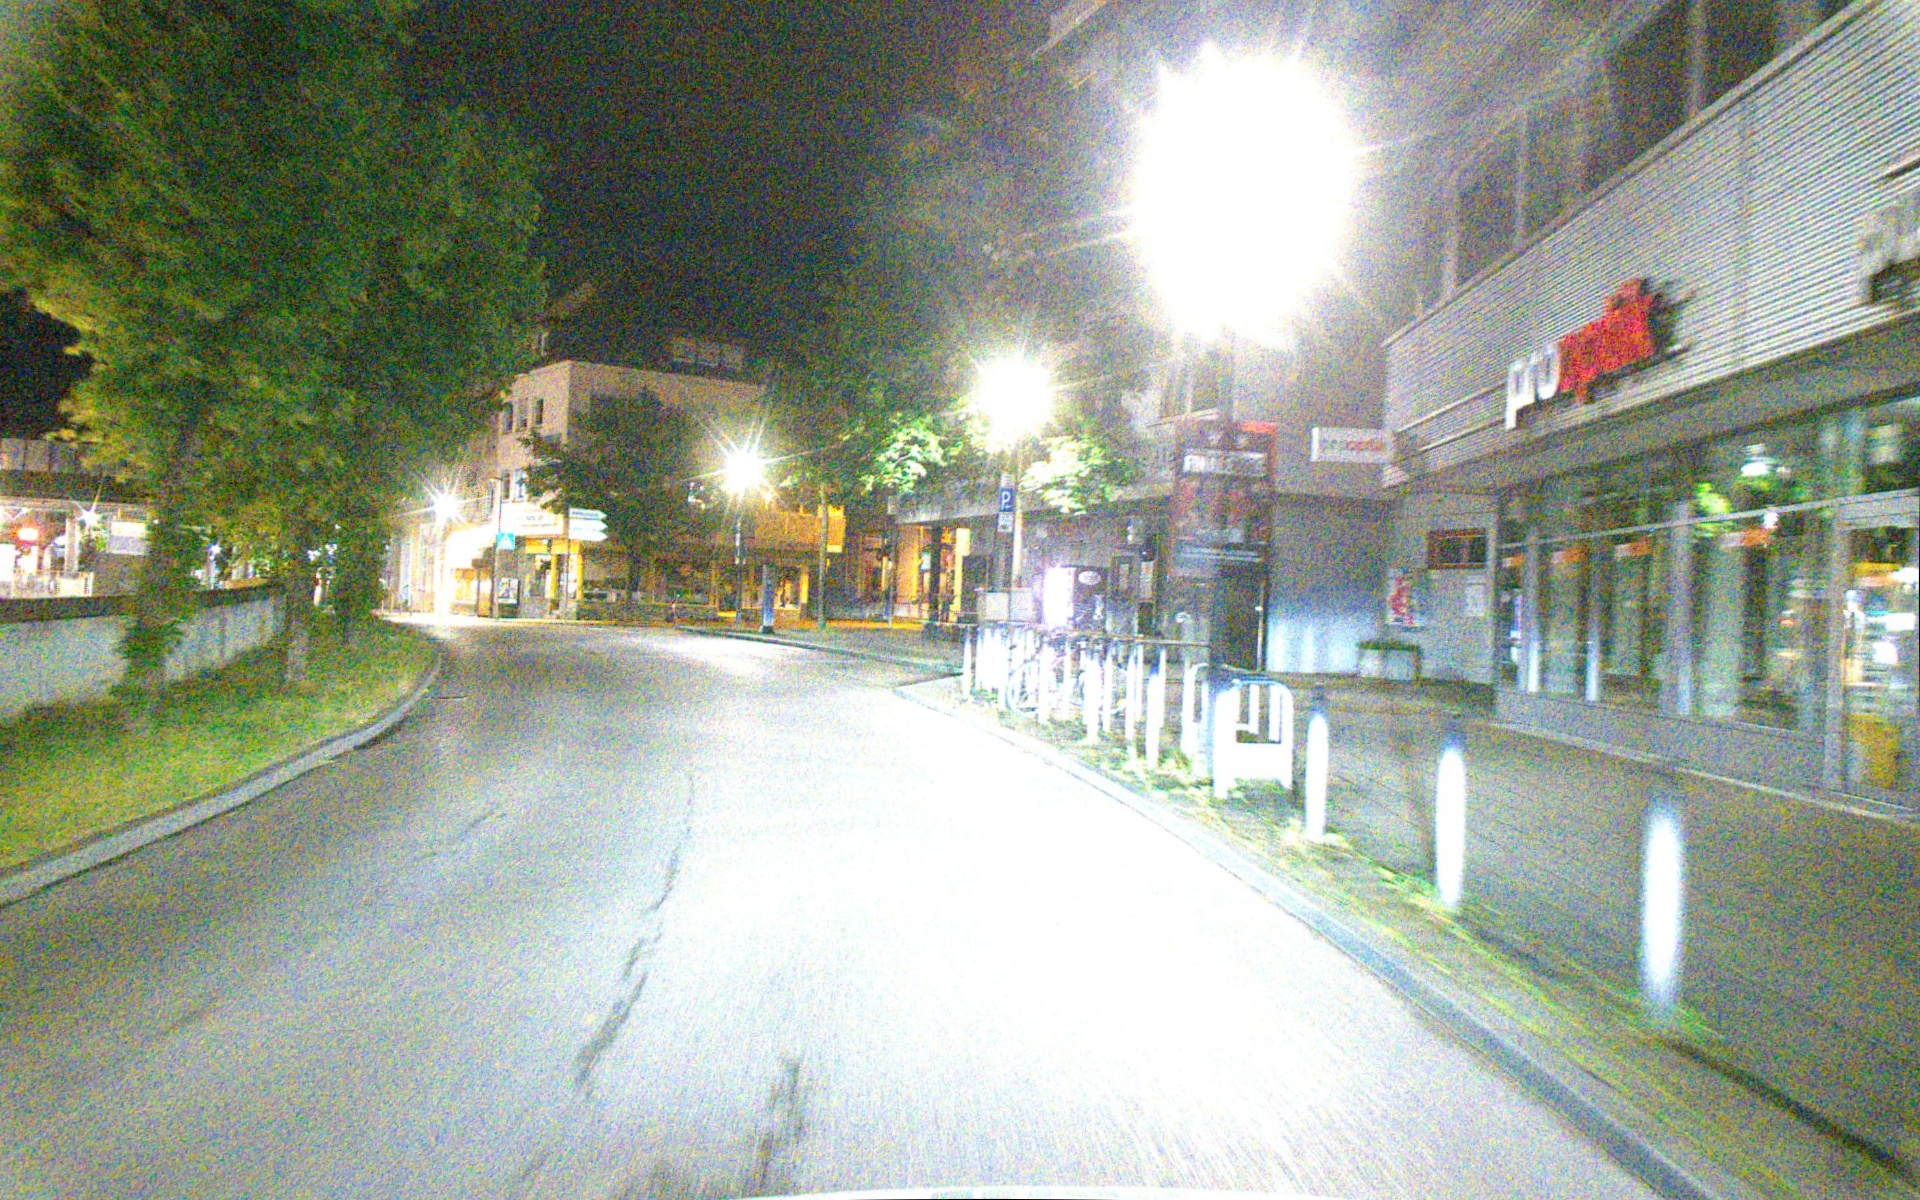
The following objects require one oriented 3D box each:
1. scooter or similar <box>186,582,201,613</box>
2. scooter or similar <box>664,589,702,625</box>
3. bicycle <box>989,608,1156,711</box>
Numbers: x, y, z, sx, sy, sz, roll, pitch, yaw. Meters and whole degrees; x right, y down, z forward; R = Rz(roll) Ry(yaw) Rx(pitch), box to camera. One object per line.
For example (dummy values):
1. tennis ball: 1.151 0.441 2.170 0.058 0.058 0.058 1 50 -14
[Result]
1. scooter or similar: -29.499 -0.106 63.645 0.426 1.154 0.993 0 1 -31
2. scooter or similar: -10.298 0.249 61.412 1.230 1.248 0.594 3 0 -25
3. bicycle: 1.257 0.664 18.495 1.725 1.081 0.651 2 1 -22
